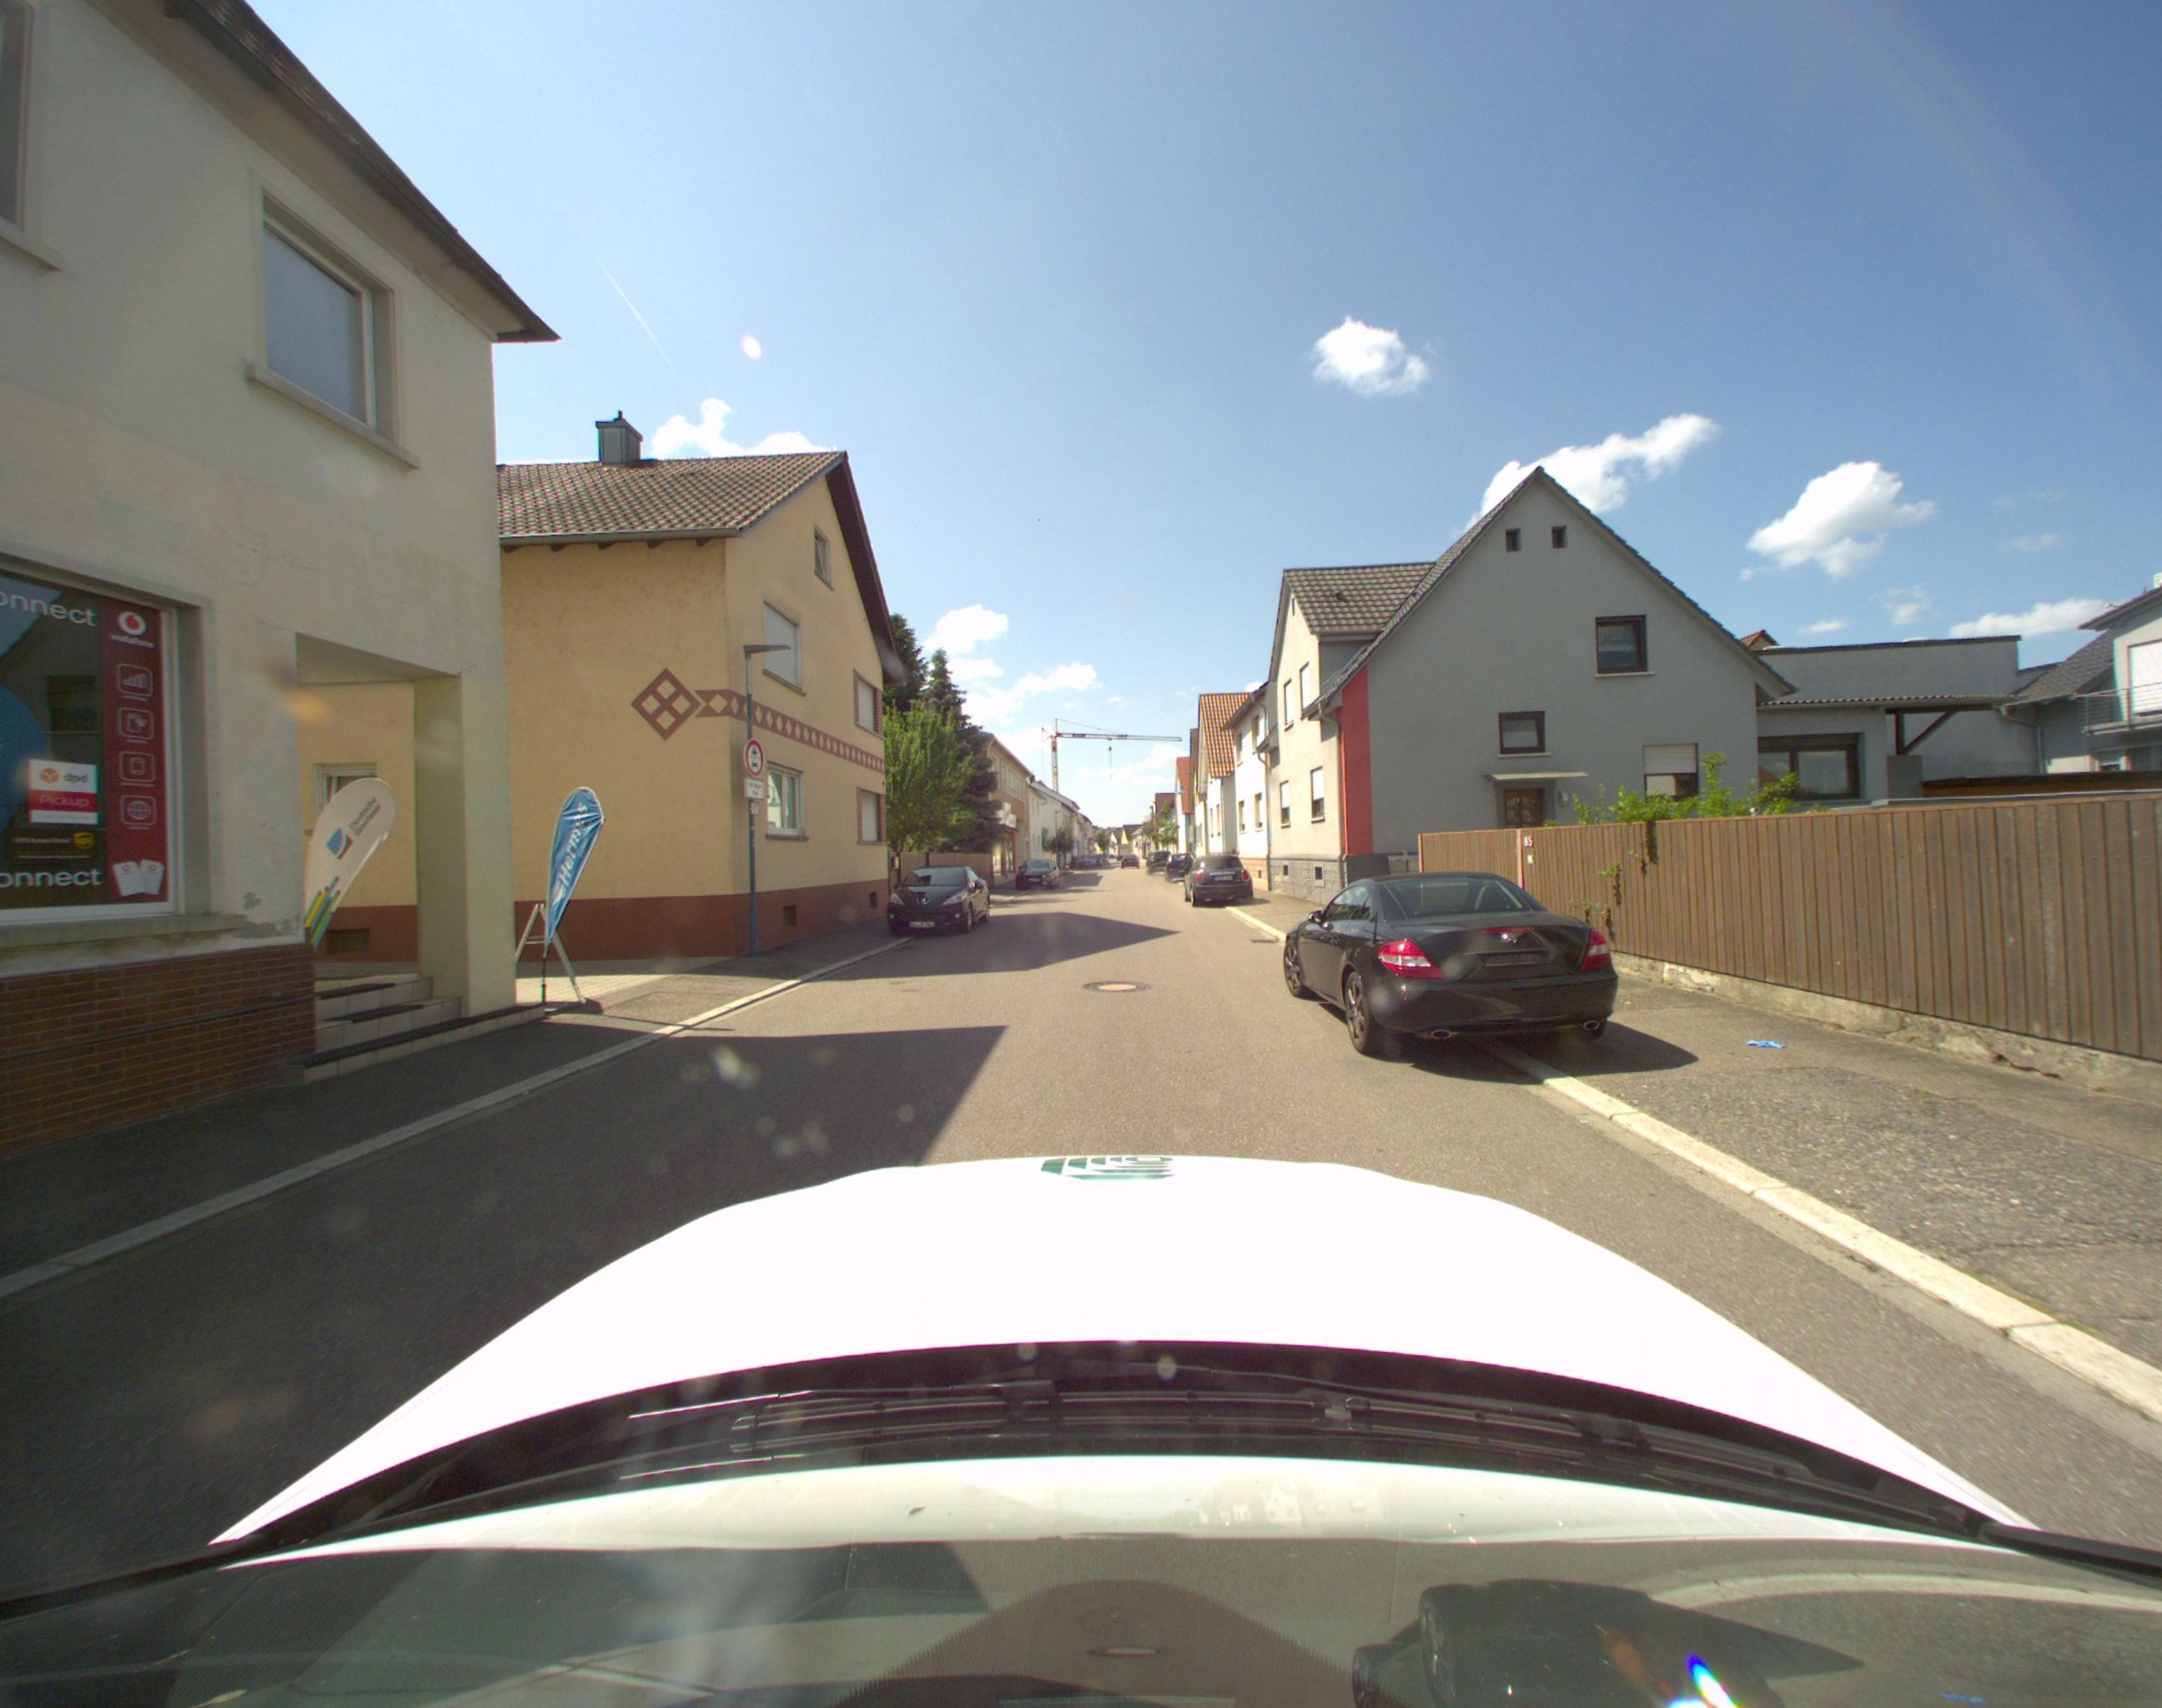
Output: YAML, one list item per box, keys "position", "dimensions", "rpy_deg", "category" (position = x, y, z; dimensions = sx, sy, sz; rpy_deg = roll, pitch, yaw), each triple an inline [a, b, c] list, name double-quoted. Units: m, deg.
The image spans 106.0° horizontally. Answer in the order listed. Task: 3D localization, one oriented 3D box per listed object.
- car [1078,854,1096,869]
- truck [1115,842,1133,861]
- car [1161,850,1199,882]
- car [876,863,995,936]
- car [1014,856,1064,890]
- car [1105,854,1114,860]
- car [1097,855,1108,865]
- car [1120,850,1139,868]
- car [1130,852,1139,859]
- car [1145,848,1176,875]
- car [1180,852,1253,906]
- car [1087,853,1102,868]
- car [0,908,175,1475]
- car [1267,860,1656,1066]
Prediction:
- position: [0.640, 0.785, 88.388]
  dimensions: [1.751, 1.525, 4.292]
  rpy_deg: [-2, 0, 2]
  category: "car"
- position: [9.307, -0.415, 178.465]
  dimensions: [3.366, 3.865, 13.930]
  rpy_deg: [-3, 0, 2]
  category: "truck"
- position: [5.260, 0.621, 43.572]
  dimensions: [1.610, 1.495, 3.974]
  rpy_deg: [-5, 0, 3]
  category: "car"
- position: [-3.108, 0.930, 18.216]
  dimensions: [1.754, 1.374, 4.069]
  rpy_deg: [-1, 0, 2]
  category: "car"
- position: [-1.957, 0.858, 39.162]
  dimensions: [1.760, 1.460, 4.442]
  rpy_deg: [-2, 0, 5]
  category: "car"
- position: [8.808, 0.839, 250.865]
  dimensions: [1.823, 1.753, 4.210]
  rpy_deg: [-3, 0, -13]
  category: "car"
- position: [3.527, 0.990, 134.368]
  dimensions: [1.716, 1.555, 4.176]
  rpy_deg: [-1, 0, 4]
  category: "car"
- position: [4.898, 0.511, 83.210]
  dimensions: [1.776, 1.753, 4.002]
  rpy_deg: [-3, 0, 2]
  category: "car"
- position: [12.758, 0.482, 194.116]
  dimensions: [1.776, 1.564, 4.337]
  rpy_deg: [-3, 0, 1]
  category: "car"
- position: [5.475, 0.488, 56.313]
  dimensions: [1.722, 1.717, 4.276]
  rpy_deg: [-2, 0, 1]
  category: "car"
- position: [3.915, 0.673, 24.010]
  dimensions: [1.681, 1.422, 3.659]
  rpy_deg: [-2, 0, 3]
  category: "car"
- position: [1.581, 0.712, 95.112]
  dimensions: [1.647, 1.609, 4.063]
  rpy_deg: [-2, 0, 2]
  category: "car"
- position: [-3.705, 0.897, 0.288]
  dimensions: [1.690, 1.411, 4.393]
  rpy_deg: [-2, 0, 3]
  category: "car"
- position: [2.969, 0.741, 7.437]
  dimensions: [1.808, 1.276, 4.150]
  rpy_deg: [-2, 0, 4]
  category: "car"
